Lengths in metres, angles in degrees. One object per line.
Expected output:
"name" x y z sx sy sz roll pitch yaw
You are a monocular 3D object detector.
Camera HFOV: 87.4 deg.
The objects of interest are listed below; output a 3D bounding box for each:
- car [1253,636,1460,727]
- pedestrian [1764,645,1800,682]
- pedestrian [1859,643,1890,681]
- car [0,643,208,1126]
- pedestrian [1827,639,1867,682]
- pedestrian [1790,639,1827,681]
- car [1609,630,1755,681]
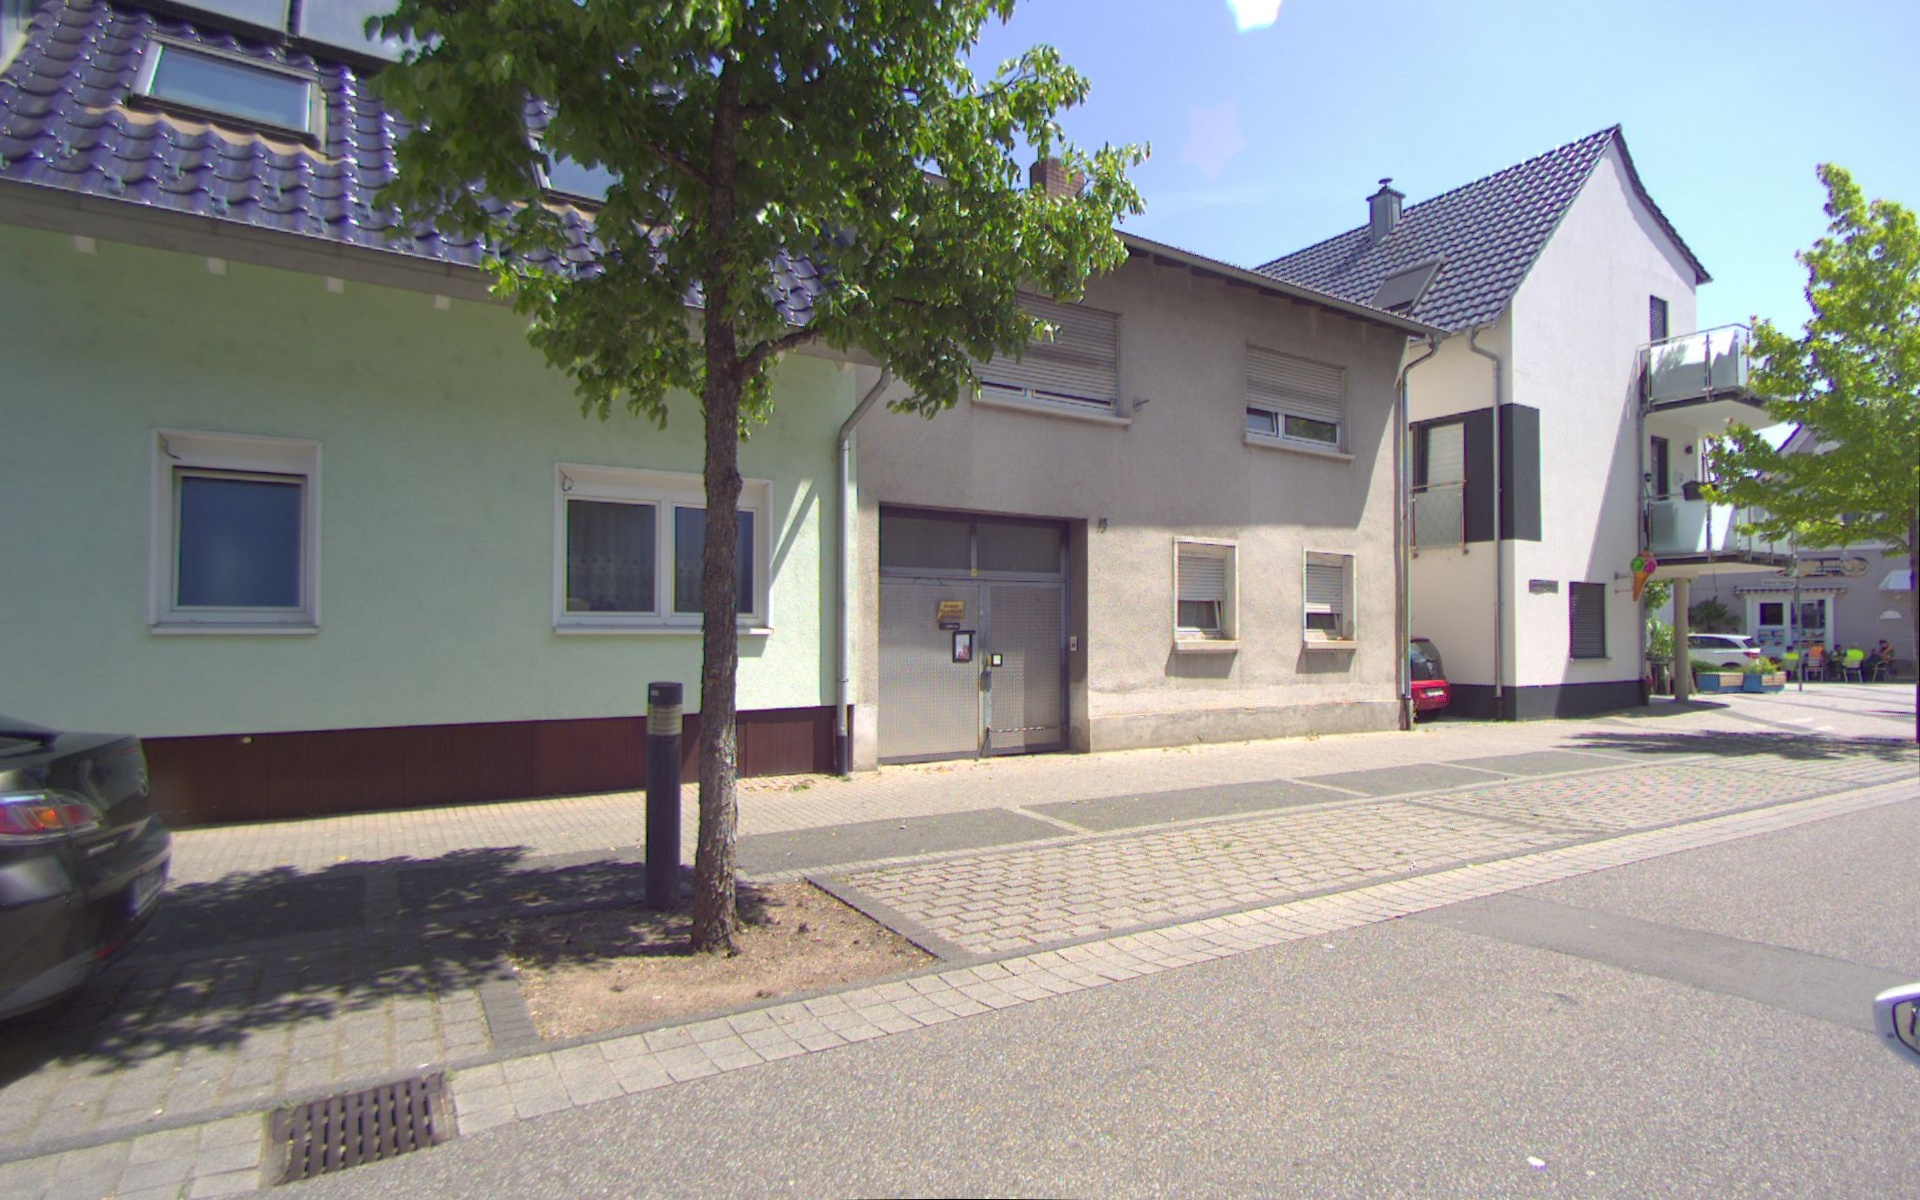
"car" 6.999 1.373 17.941 1.572 1.462 3.092 1 -2 -36
"pedestrian" 26.806 2.051 32.773 0.623 1.131 0.790 2 0 15
"pedestrian" 29.256 1.969 32.134 0.690 1.194 0.618 1 -2 -36
"car" -5.047 0.864 2.816 4.485 1.455 1.653 1 -2 -30
"pedestrian" 28.208 1.906 31.952 0.623 1.306 0.790 2 0 15
"pedestrian" 27.777 1.951 32.897 0.623 1.306 0.790 2 0 15
"car" 24.324 1.824 33.923 3.873 1.566 1.510 -2 -1 42
